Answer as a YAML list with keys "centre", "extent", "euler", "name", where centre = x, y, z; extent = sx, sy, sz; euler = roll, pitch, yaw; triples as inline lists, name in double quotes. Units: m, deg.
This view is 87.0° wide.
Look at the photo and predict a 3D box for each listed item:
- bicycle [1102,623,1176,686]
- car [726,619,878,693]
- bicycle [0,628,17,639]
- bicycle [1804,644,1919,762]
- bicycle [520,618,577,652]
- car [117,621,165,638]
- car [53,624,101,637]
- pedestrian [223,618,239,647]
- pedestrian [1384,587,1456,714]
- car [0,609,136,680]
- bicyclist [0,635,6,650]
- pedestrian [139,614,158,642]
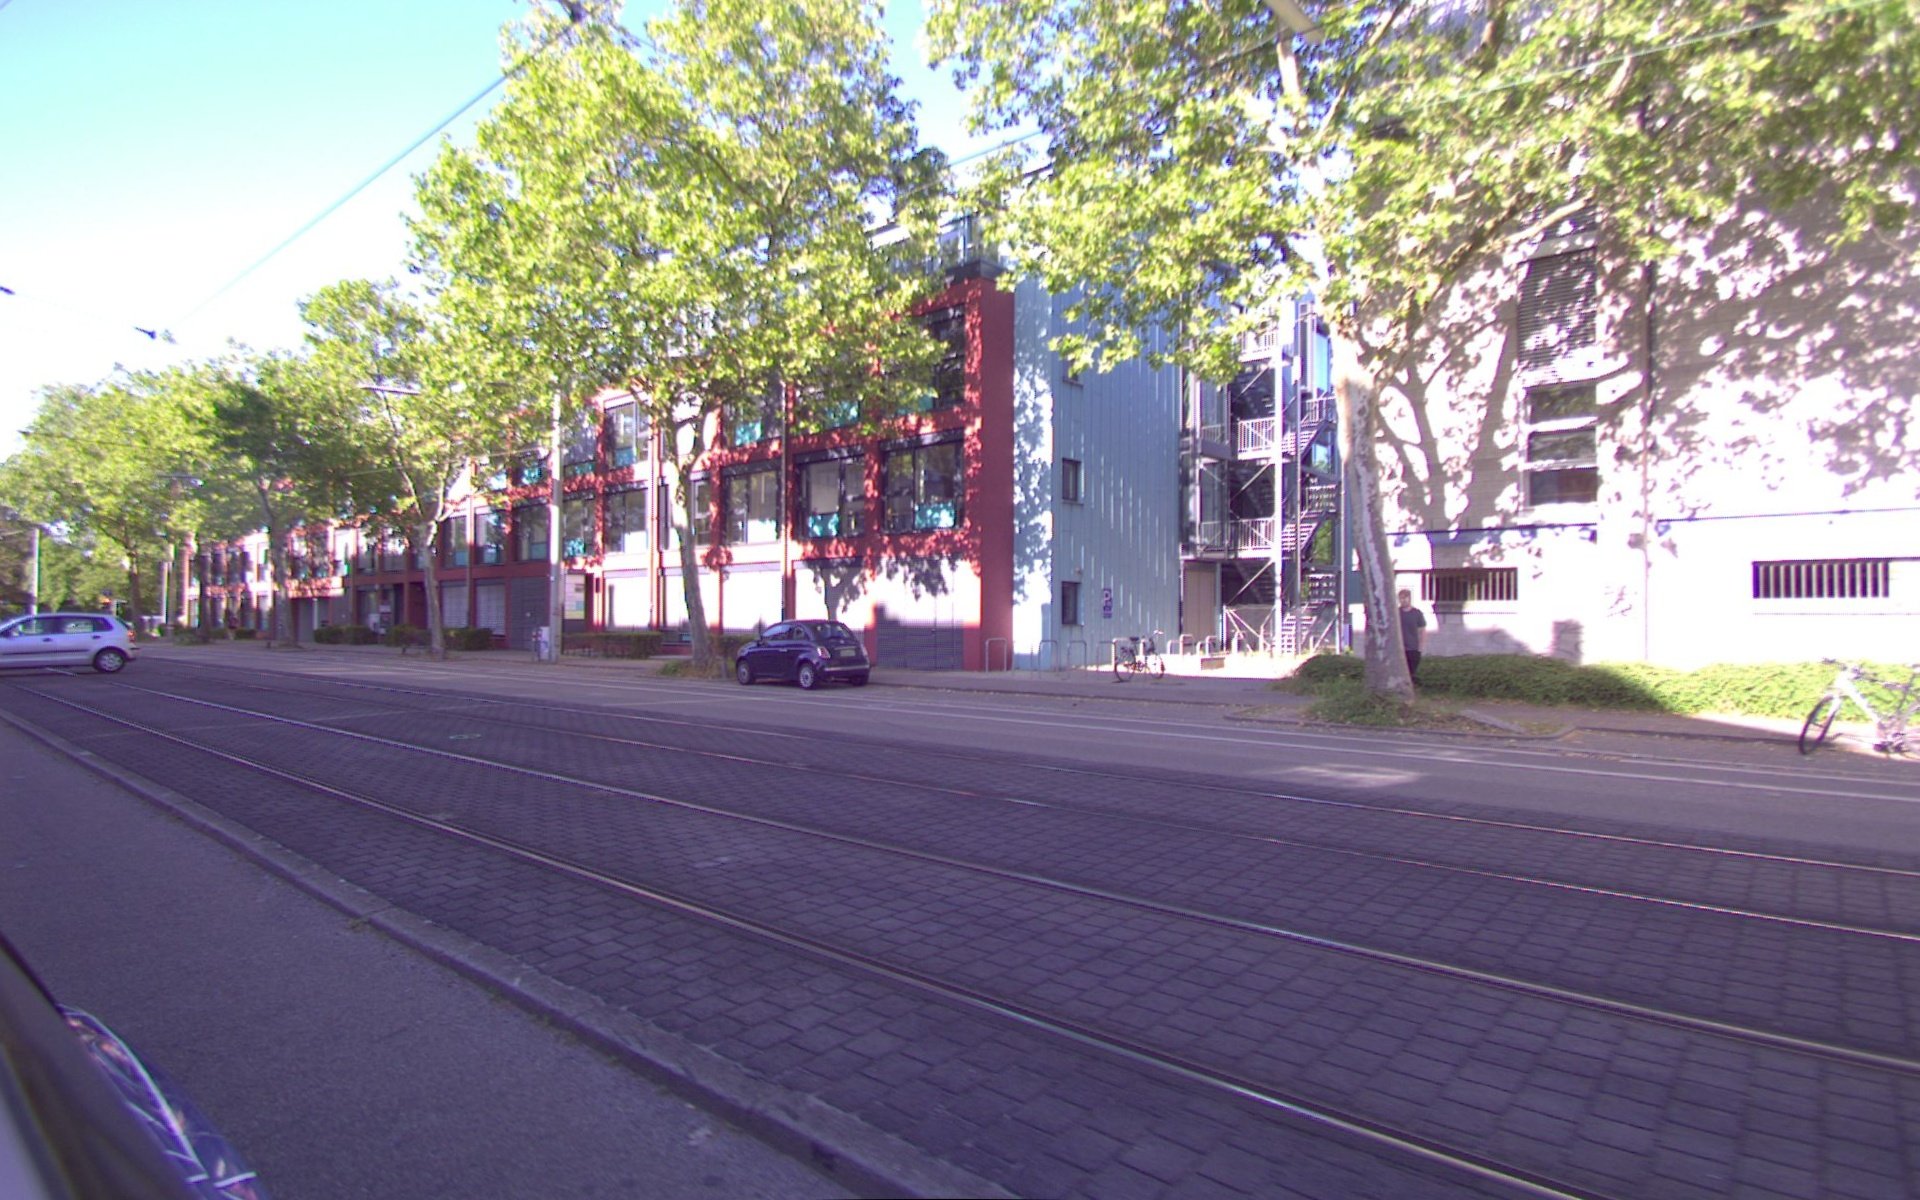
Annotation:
- centre: [3.972, 1.172, 22.348]
  extent: [0.664, 1.288, 1.987]
  euler: [-2, -1, 41]
  name: "bicycle"
- centre: [-3.554, 1.193, 22.501]
  extent: [3.463, 1.464, 1.491]
  euler: [-2, 0, 43]
  name: "car"
- centre: [-103.517, 3.601, 109.440]
  extent: [2.252, 1.126, 0.931]
  euler: [1, -2, -42]
  name: "bicycle"
- centre: [10.237, 1.096, 10.926]
  extent: [1.650, 1.218, 0.576]
  euler: [-2, 0, 35]
  name: "bicycle"
- centre: [-16.681, 1.393, 41.044]
  extent: [0.619, 1.282, 2.038]
  euler: [-2, 0, 45]
  name: "bicycle"
- centre: [-96.760, 3.488, 119.583]
  extent: [1.817, 1.881, 4.254]
  euler: [-2, -3, 43]
  name: "car"
- centre: [-98.713, 3.371, 113.115]
  extent: [3.940, 1.444, 1.818]
  euler: [1, -2, -44]
  name: "car"
- centre: [-45.624, 2.031, 63.339]
  extent: [0.900, 1.731, 0.619]
  euler: [-2, 0, 40]
  name: "pedestrian"
- centre: [6.977, 0.754, 15.391]
  extent: [0.778, 1.884, 0.669]
  euler: [-2, 0, 8]
  name: "pedestrian"
- centre: [-22.080, 1.044, 23.812]
  extent: [4.011, 1.529, 1.760]
  euler: [-2, 0, -44]
  name: "car"
- centre: [-103.526, 4.580, 109.399]
  extent: [0.551, 1.635, 0.899]
  euler: [1, -2, -41]
  name: "bicyclist"
- centre: [-61.148, 2.091, 76.255]
  extent: [0.778, 2.029, 0.903]
  euler: [-2, 0, 32]
  name: "pedestrian"
